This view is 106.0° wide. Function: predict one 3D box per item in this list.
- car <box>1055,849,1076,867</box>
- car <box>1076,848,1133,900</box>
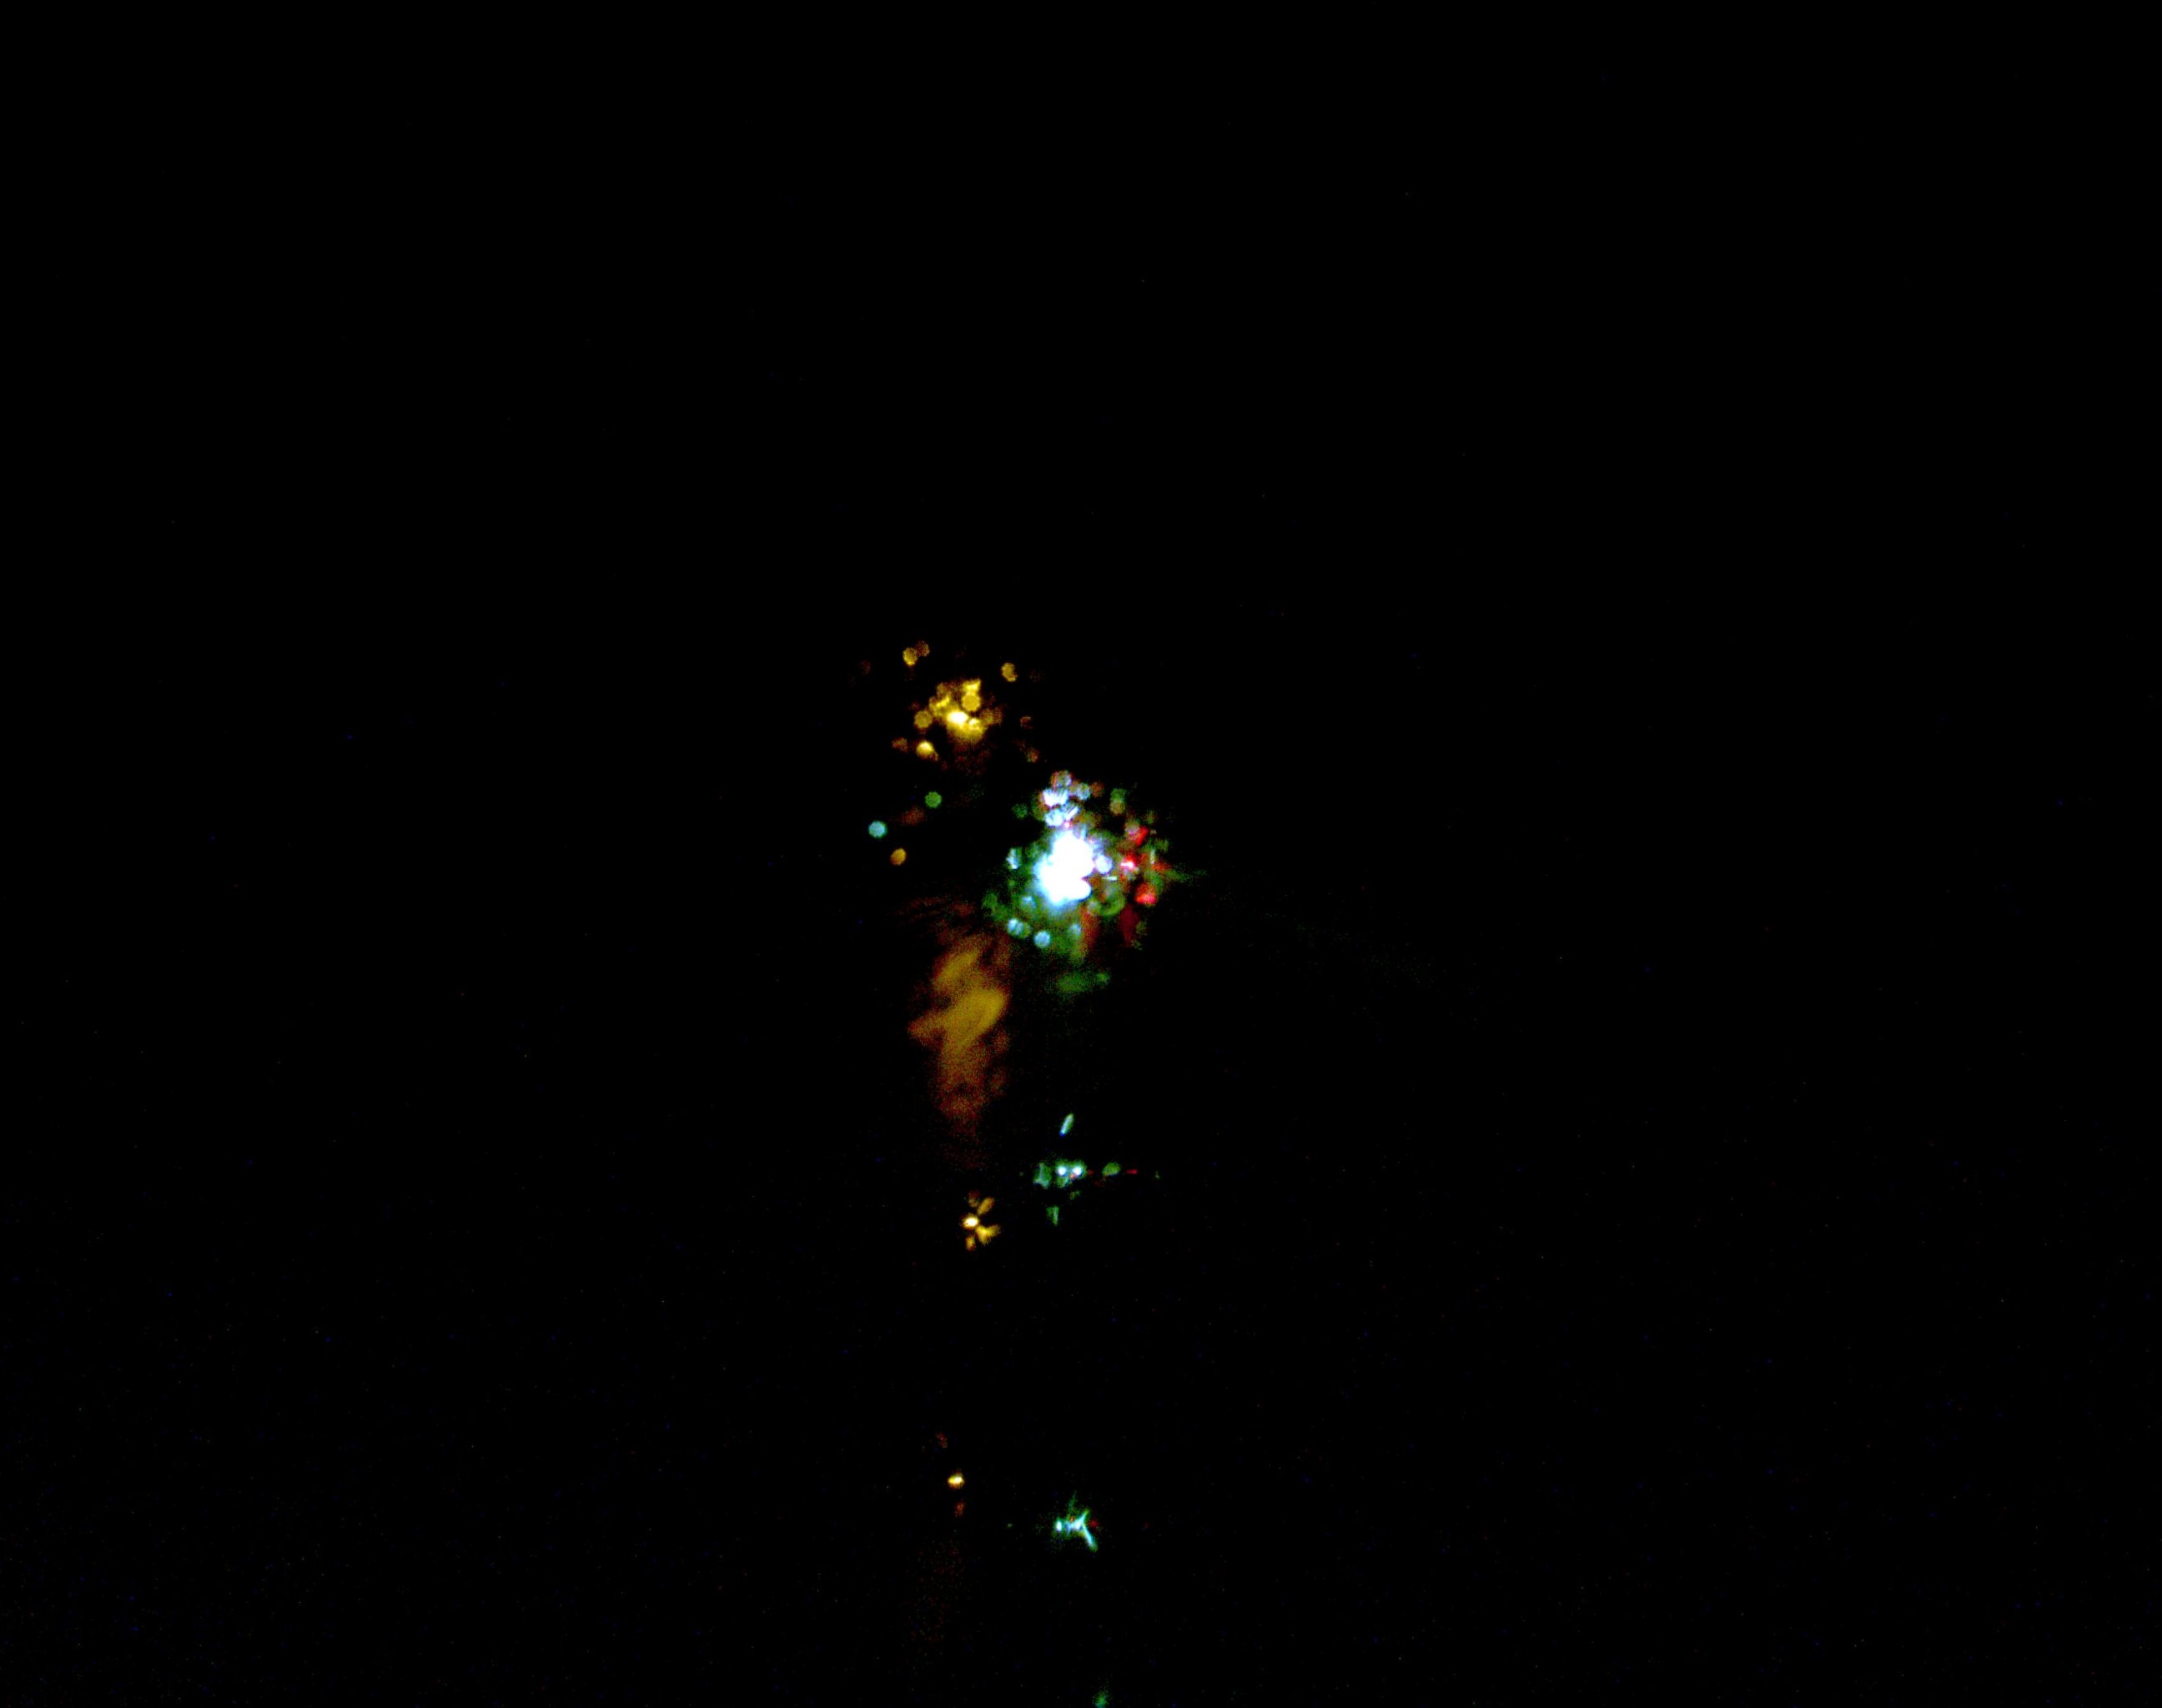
[{"bbox_3d":[-1.321,0.359,71.059,1.726,1.518,4.016,0,0,1],"label":"car"},{"bbox_3d":[0.822,0.669,27.949,1.794,1.628,3.616,1,-1,2],"label":"car"}]
